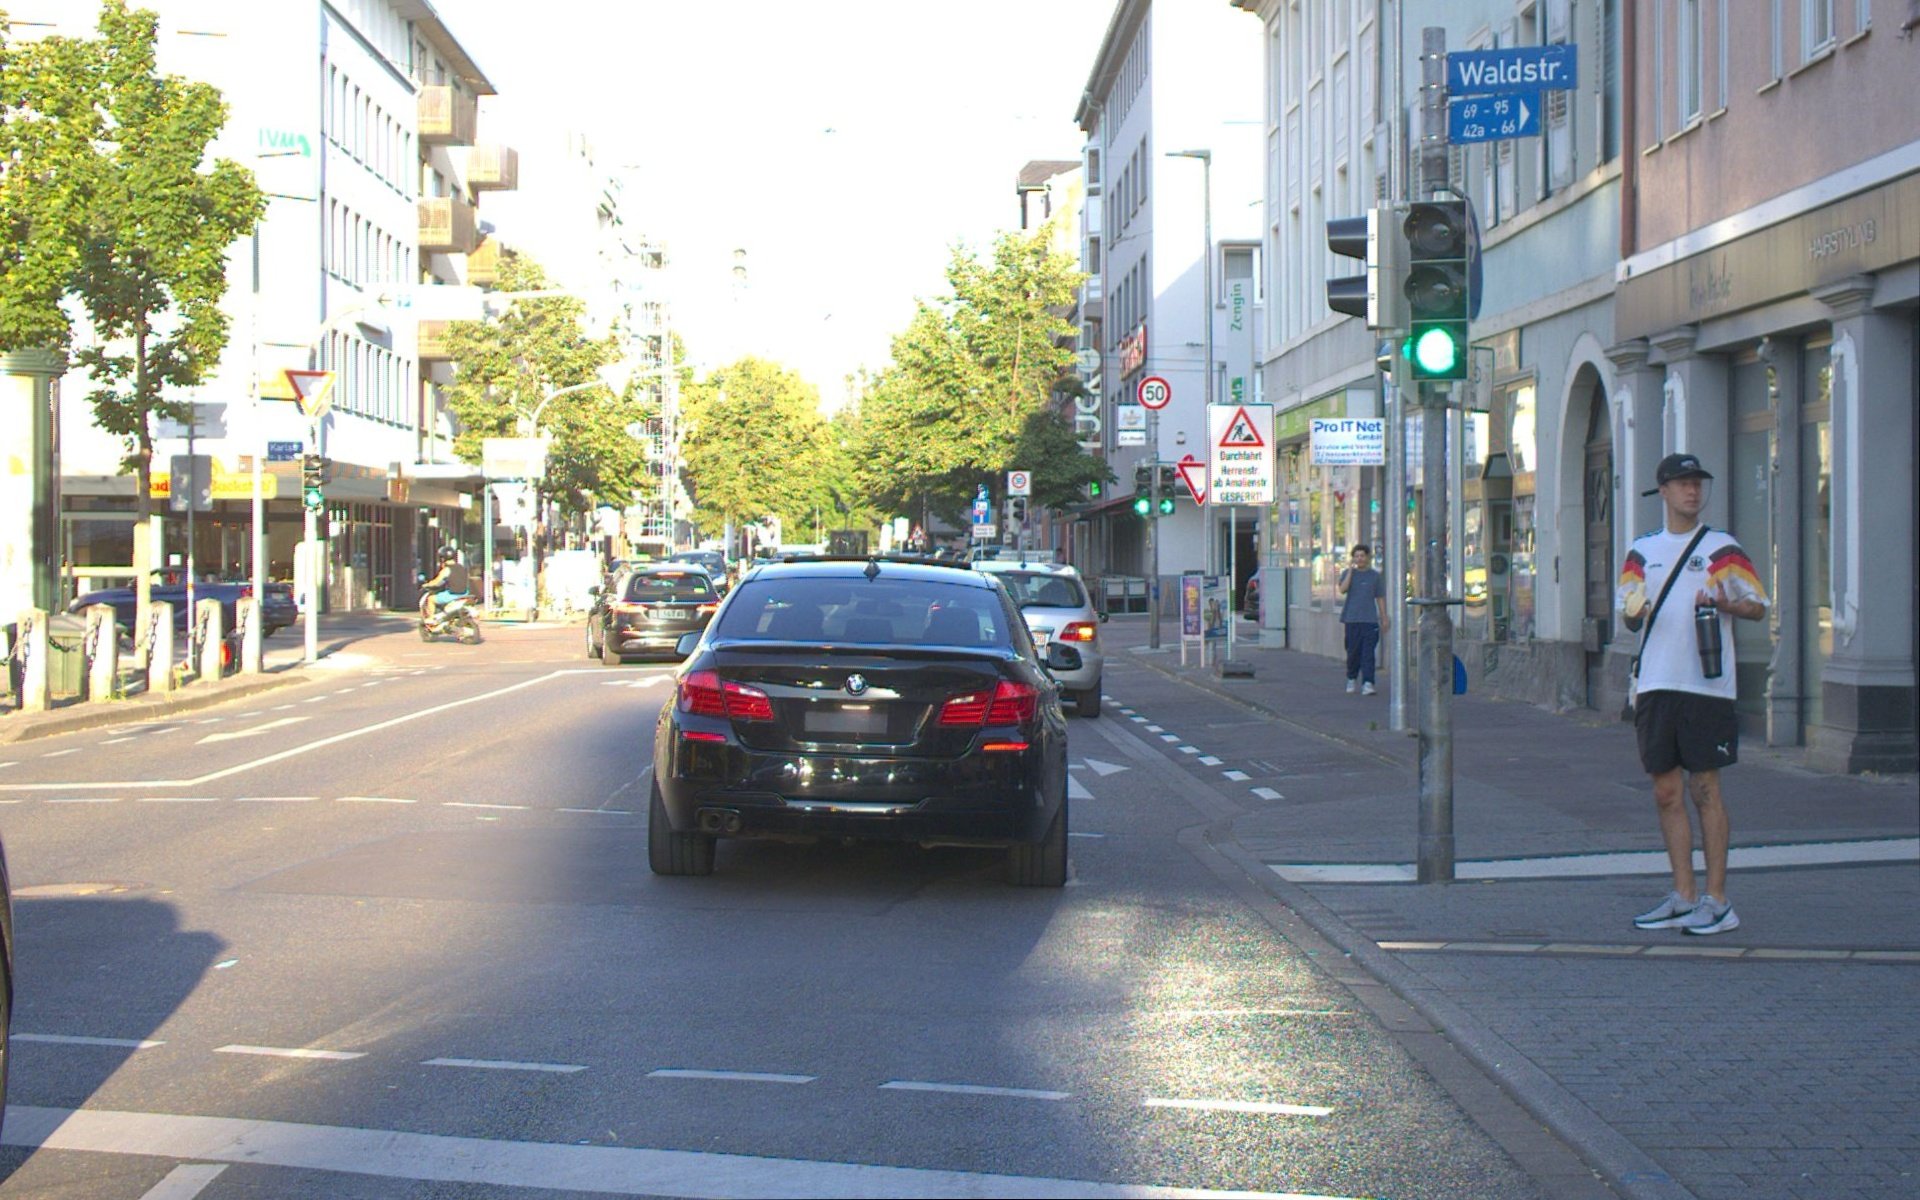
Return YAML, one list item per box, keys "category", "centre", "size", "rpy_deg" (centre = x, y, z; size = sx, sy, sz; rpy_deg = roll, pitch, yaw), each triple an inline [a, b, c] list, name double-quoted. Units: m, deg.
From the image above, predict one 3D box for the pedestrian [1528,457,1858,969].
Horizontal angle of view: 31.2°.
- category: "pedestrian"
  centre: [2.826, 0.411, 13.287]
  size: [0.937, 1.891, 0.826]
  rpy_deg: [0, 0, -28]

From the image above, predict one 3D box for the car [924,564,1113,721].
- category: "car"
  centre: [0.579, 0.417, 37.173]
  size: [1.832, 1.570, 4.101]
  rpy_deg: [0, 1, -2]

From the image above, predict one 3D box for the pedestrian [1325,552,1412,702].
- category: "pedestrian"
  centre: [4.509, 0.291, 38.015]
  size: [0.823, 1.636, 0.871]
  rpy_deg: [0, 0, -3]

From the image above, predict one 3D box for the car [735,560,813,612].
- category: "car"
  centre: [-5.361, -0.416, 98.602]
  size: [1.993, 1.437, 4.001]
  rpy_deg: [0, 1, -7]

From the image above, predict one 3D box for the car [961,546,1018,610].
- category: "car"
  centre: [0.870, -0.640, 101.840]
  size: [1.421, 1.848, 3.053]
  rpy_deg: [1, 0, -4]

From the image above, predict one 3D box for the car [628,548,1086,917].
- category: "car"
  centre: [-0.508, 0.523, 16.610]
  size: [1.903, 1.535, 4.450]
  rpy_deg: [0, 1, -2]

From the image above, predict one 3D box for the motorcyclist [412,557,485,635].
- category: "motorcyclist"
  centre: [-8.794, -0.078, 59.089]
  size: [0.993, 1.315, 0.766]
  rpy_deg: [1, 1, 40]

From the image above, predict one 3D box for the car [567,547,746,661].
- category: "car"
  centre: [-4.549, 0.029, 50.939]
  size: [1.872, 1.590, 4.451]
  rpy_deg: [0, 1, -15]

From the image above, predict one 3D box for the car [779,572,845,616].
- category: "car"
  centre: [-4.557, -0.192, 105.379]
  size: [1.733, 1.288, 4.001]
  rpy_deg: [0, 1, -7]

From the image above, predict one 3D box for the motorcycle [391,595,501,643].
- category: "motorcycle"
  centre: [-8.837, 0.322, 59.093]
  size: [2.031, 0.778, 0.662]
  rpy_deg: [1, 1, 38]

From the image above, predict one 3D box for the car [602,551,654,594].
- category: "car"
  centre: [-11.608, -0.970, 120.038]
  size: [1.733, 1.456, 4.001]
  rpy_deg: [0, 1, -7]

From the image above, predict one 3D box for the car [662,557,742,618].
- category: "car"
  centre: [-7.004, -0.359, 93.064]
  size: [1.993, 1.612, 4.001]
  rpy_deg: [0, 1, -7]

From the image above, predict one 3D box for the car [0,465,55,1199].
- category: "car"
  centre: [-3.121, 0.585, 5.885]
  size: [1.948, 1.708, 4.562]
  rpy_deg: [0, 1, 0]

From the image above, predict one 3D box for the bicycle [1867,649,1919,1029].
- category: "bicycle"
  centre: [3.925, 0.763, 11.166]
  size: [1.820, 1.182, 0.793]
  rpy_deg: [0, 1, 9]

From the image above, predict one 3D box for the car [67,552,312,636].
- category: "car"
  centre: [-14.334, -0.128, 63.986]
  size: [3.991, 1.481, 1.998]
  rpy_deg: [1, 1, 21]

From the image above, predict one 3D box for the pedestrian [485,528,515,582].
- category: "pedestrian"
  centre: [-14.232, -1.392, 106.346]
  size: [0.823, 1.671, 0.871]
  rpy_deg: [0, 1, -2]
